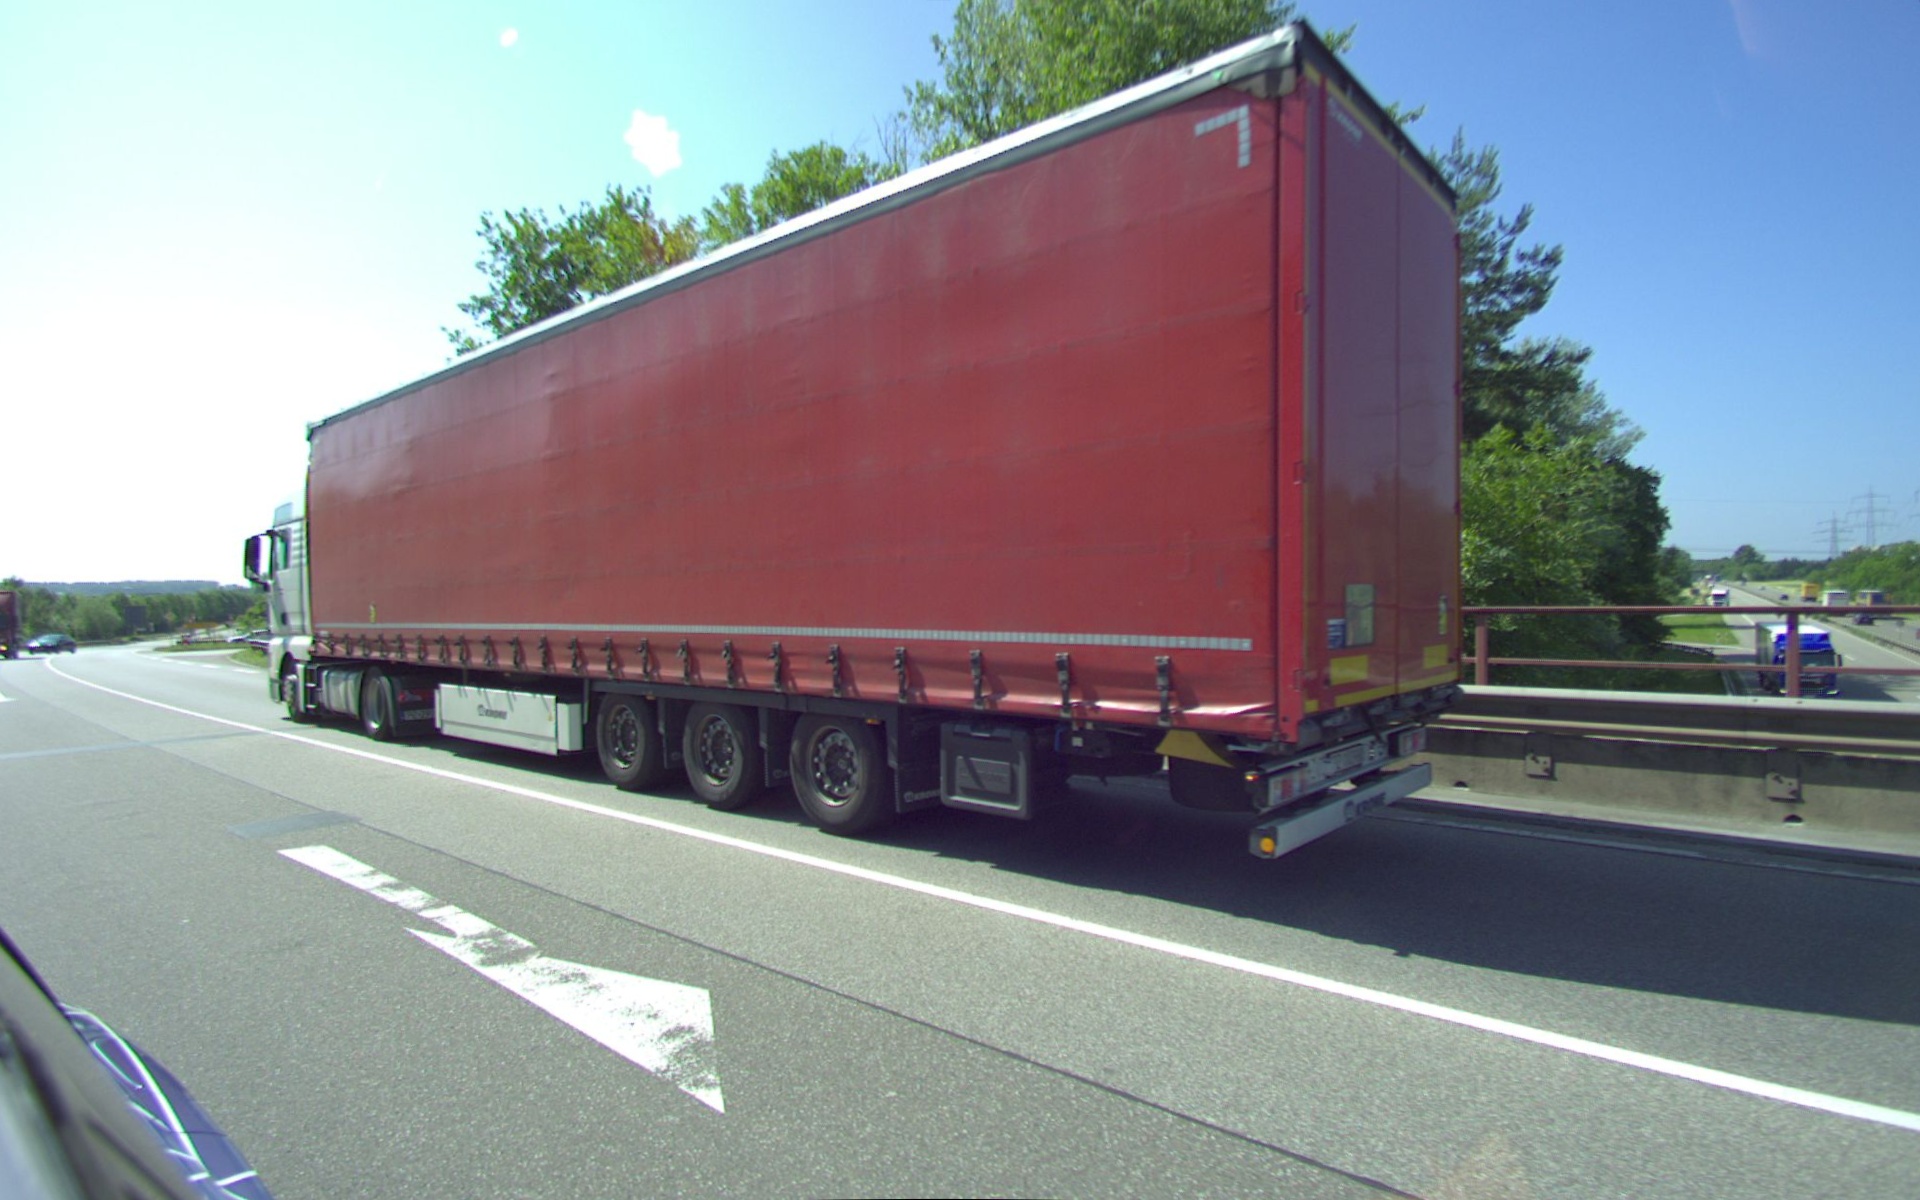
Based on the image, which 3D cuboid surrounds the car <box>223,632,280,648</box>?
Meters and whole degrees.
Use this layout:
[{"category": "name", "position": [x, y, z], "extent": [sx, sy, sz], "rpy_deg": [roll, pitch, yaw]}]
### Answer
[{"category": "car", "position": [-66.817, 3.758, 95.488], "extent": [4.307, 1.396, 1.792], "rpy_deg": [-1, -2, -38]}]

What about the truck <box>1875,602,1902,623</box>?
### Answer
[{"category": "truck", "position": [134.540, 1.788, 146.667], "extent": [1.995, 2.794, 5.443], "rpy_deg": [-2, -1, 34]}]

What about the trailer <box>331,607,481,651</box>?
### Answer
[{"category": "trailer", "position": [-58.765, 2.969, 107.797], "extent": [13.751, 4.272, 2.938], "rpy_deg": [-1, 0, -36]}]

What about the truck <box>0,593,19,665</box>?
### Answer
[{"category": "truck", "position": [-53.060, 1.694, 54.877], "extent": [2.649, 3.689, 9.275], "rpy_deg": [-1, -2, -41]}]

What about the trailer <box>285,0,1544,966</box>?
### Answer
[{"category": "trailer", "position": [-2.745, -0.441, 9.747], "extent": [14.194, 4.093, 2.739], "rpy_deg": [-2, -2, 42]}]

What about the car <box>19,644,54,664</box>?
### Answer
[{"category": "car", "position": [-69.936, 4.083, 76.675], "extent": [1.760, 1.425, 4.006], "rpy_deg": [-1, -2, -40]}]

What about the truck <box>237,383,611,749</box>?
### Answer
[{"category": "truck", "position": [-7.679, -0.299, 14.198], "extent": [5.852, 4.065, 2.740], "rpy_deg": [-2, -2, 41]}]

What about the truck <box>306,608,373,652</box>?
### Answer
[{"category": "truck", "position": [-63.786, 3.039, 104.115], "extent": [5.639, 4.269, 2.948], "rpy_deg": [-1, 0, -36]}]

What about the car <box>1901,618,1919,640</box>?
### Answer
[{"category": "car", "position": [86.242, 2.601, 91.407], "extent": [1.750, 1.774, 3.842], "rpy_deg": [-4, -2, 43]}]
